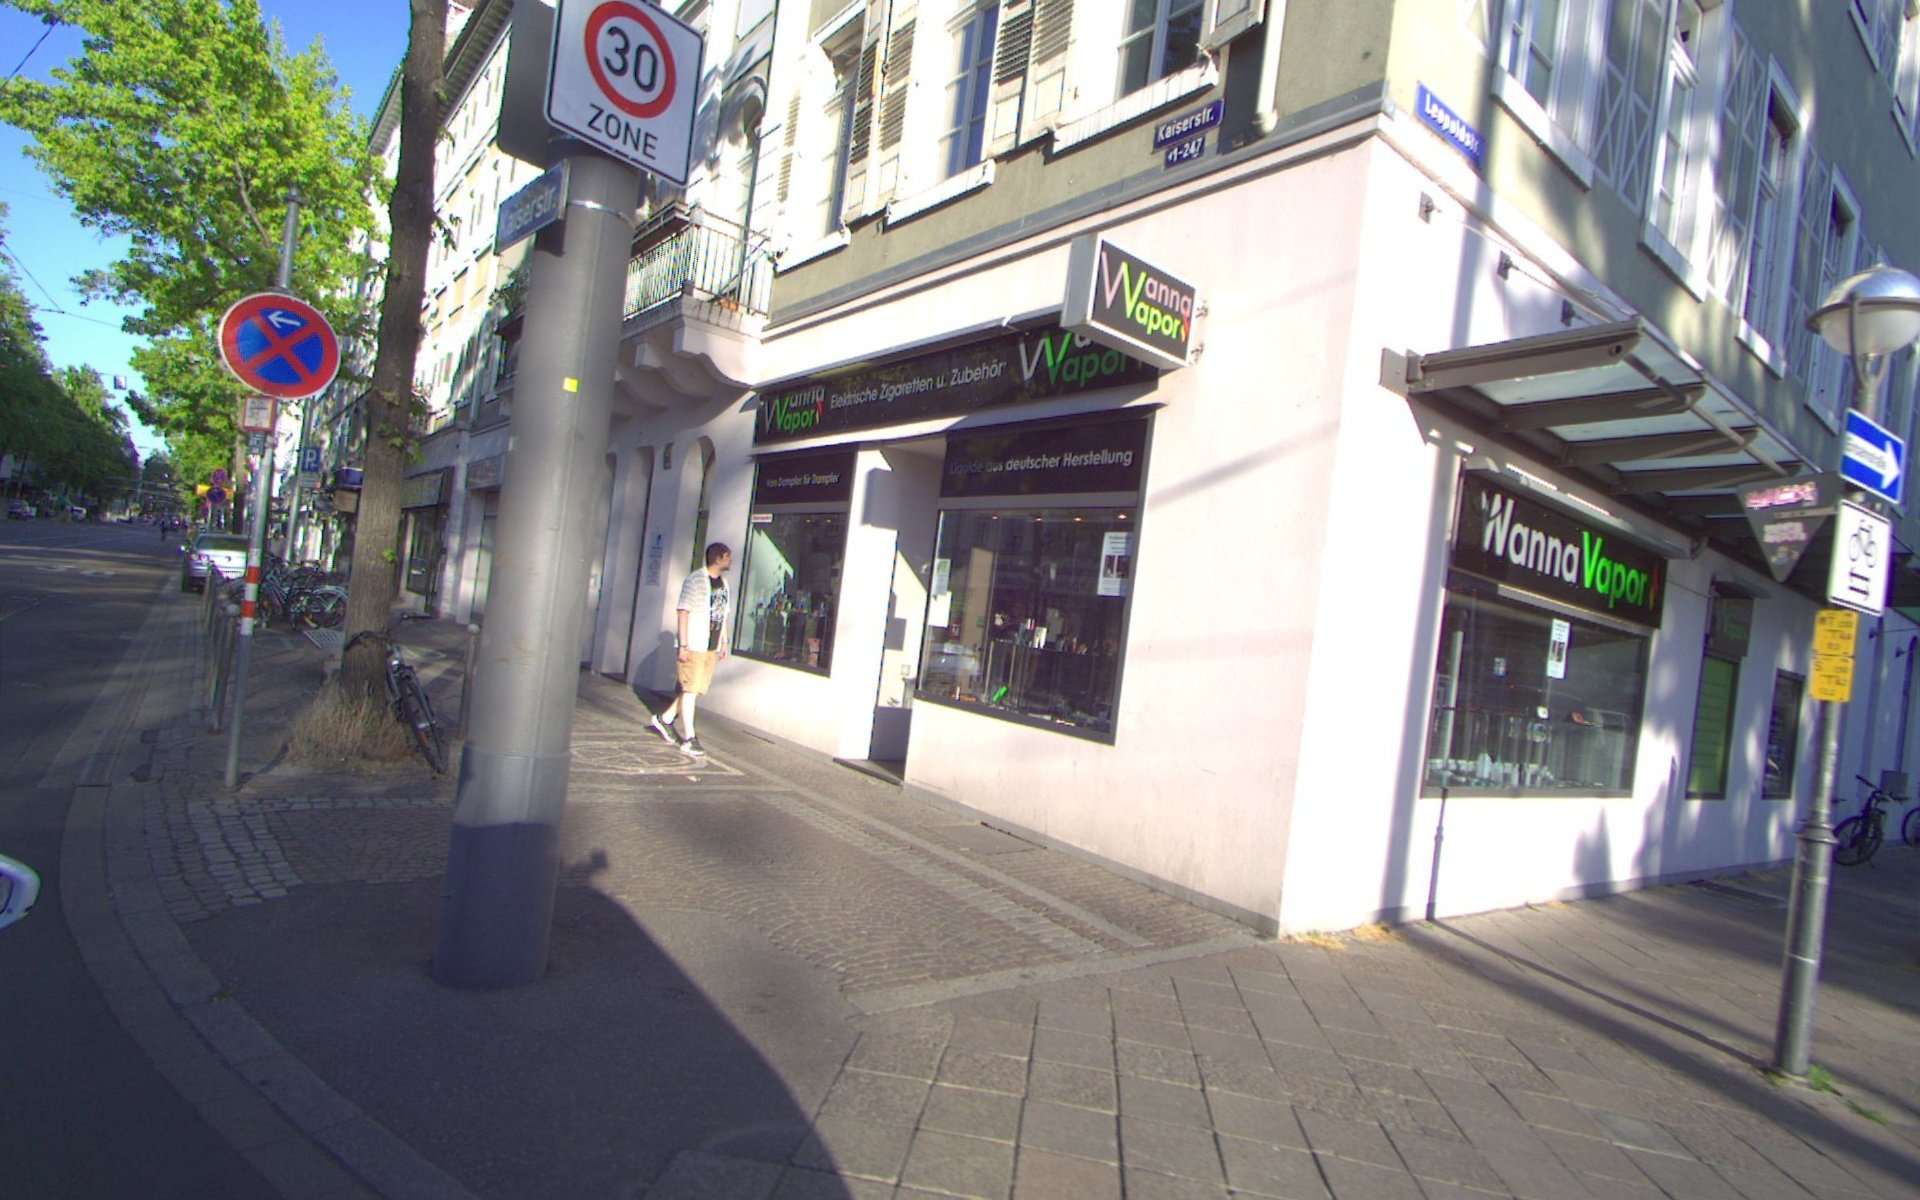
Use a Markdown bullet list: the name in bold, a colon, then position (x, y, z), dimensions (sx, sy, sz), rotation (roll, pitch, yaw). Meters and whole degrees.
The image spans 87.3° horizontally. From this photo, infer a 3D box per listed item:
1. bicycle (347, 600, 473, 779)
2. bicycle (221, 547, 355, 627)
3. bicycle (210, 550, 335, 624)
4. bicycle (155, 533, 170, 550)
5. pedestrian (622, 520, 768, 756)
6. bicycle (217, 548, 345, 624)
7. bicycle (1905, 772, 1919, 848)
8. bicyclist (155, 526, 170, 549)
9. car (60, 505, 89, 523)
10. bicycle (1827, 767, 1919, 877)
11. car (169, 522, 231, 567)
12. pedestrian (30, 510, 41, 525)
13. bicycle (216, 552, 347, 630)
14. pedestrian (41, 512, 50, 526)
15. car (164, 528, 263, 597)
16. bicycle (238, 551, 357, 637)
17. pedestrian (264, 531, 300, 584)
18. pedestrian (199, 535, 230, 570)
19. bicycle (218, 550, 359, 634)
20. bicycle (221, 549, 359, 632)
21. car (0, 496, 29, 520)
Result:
- **bicycle**: position (-4.041, 0.603, 7.332), dimensions (0.353, 1.089, 1.680), rotation (8, -2, -40)
- **bicycle**: position (-11.994, -0.219, 18.004), dimensions (1.857, 1.168, 0.557), rotation (9, -2, -36)
- **bicycle**: position (-13.237, -0.239, 19.411), dimensions (1.857, 1.168, 0.557), rotation (9, -2, -36)
- **bicycle**: position (-63.554, -4.654, 80.156), dimensions (0.736, 1.202, 2.139), rotation (7, -2, -36)
- **pedestrian**: position (-2.470, 0.352, 9.354), dimensions (0.837, 2.037, 0.838), rotation (8, -2, -37)
- **bicycle**: position (-12.795, -0.250, 18.996), dimensions (1.857, 1.168, 0.557), rotation (9, -2, -36)
- **bicycle**: position (17.222, 3.712, 17.572), dimensions (1.973, 1.259, 0.680), rotation (8, -2, -39)
- **bicyclist**: position (-63.442, -4.932, 80.044), dimensions (0.721, 1.722, 0.803), rotation (8, -1, -37)
- **car**: position (-122.179, -11.876, 138.861), dimensions (1.978, 2.037, 3.971), rotation (8, -2, -29)
- **bicycle**: position (12.328, 2.937, 13.452), dimensions (1.973, 1.259, 0.680), rotation (8, -2, -39)
- **car**: position (-34.054, -2.484, 45.042), dimensions (1.801, 1.468, 3.616), rotation (21, -10, -38)
- **pedestrian**: position (-103.336, -9.227, 112.442), dimensions (0.562, 1.481, 0.648), rotation (7, -1, -18)
- **bicycle**: position (-12.452, -0.148, 18.499), dimensions (1.857, 1.168, 0.557), rotation (9, -2, -36)
- **pedestrian**: position (-103.691, -9.216, 114.034), dimensions (0.638, 1.497, 0.518), rotation (5, 1, 25)
- **car**: position (-18.679, -0.952, 25.201), dimensions (1.765, 1.458, 4.379), rotation (5, 0, -37)
- **bicycle**: position (-10.709, -0.094, 16.264), dimensions (1.649, 1.168, 0.462), rotation (7, -1, 13)
- **pedestrian**: position (-22.405, -1.407, 33.243), dimensions (0.799, 1.663, 0.748), rotation (6, 0, -38)
- **pedestrian**: position (-29.961, -1.910, 40.427), dimensions (0.812, 1.280, 0.581), rotation (8, -1, -33)
- **bicycle**: position (-11.306, -0.115, 16.992), dimensions (1.857, 1.168, 0.344), rotation (9, -2, -36)
- **bicycle**: position (-11.586, -0.152, 17.431), dimensions (1.857, 1.168, 0.557), rotation (9, -2, -36)
- **car**: position (-84.699, -8.238, 89.766), dimensions (1.541, 1.817, 3.144), rotation (8, -1, -29)
